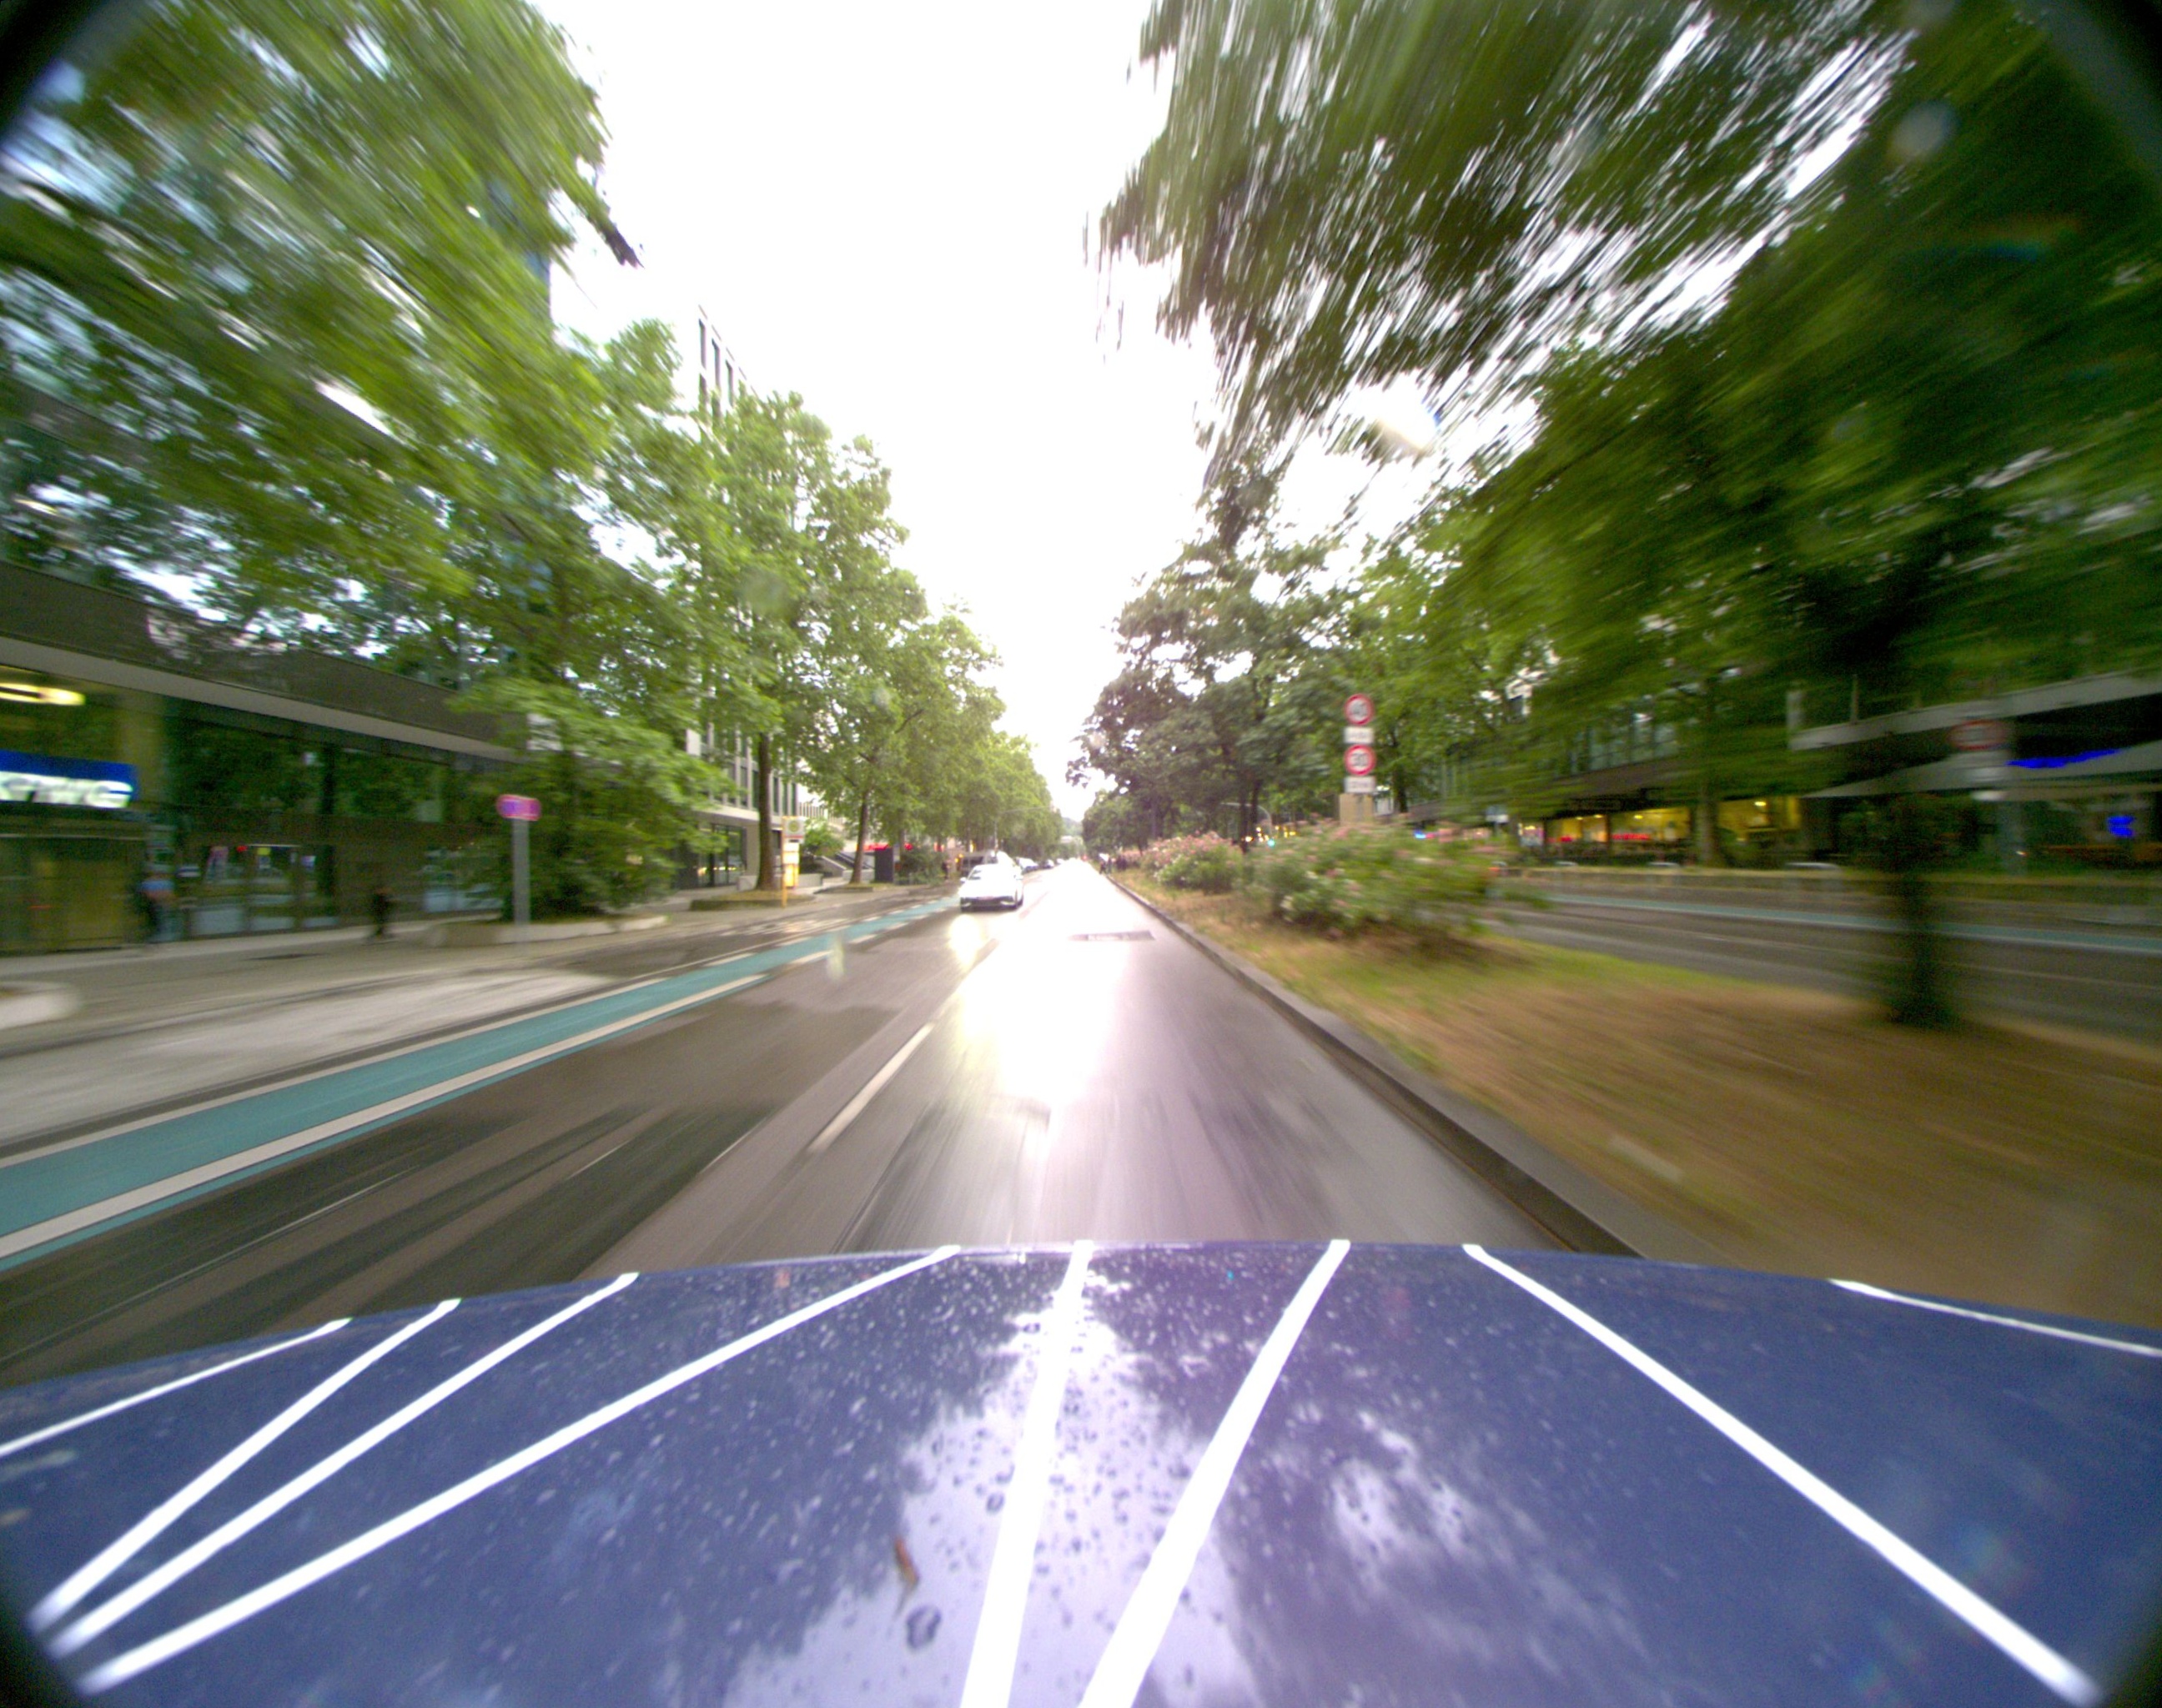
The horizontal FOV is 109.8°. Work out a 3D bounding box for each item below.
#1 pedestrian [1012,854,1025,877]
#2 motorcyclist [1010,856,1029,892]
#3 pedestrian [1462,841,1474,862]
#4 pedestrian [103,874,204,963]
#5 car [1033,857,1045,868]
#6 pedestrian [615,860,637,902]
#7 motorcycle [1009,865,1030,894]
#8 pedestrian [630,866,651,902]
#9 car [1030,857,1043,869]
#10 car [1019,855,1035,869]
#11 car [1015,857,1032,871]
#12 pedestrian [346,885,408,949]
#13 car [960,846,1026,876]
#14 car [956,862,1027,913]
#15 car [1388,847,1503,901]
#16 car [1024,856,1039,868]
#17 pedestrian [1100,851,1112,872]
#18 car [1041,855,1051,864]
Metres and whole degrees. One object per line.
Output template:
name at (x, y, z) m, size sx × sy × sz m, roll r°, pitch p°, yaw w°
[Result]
pedestrian at (-5.102, 0.964, 61.953) m, size 0.891 × 1.839 × 0.721 m, roll -2°, pitch 1°, yaw 6°
motorcyclist at (-2.821, 0.913, 34.888) m, size 0.744 × 1.575 × 1.059 m, roll -2°, pitch 1°, yaw 0°
pedestrian at (27.236, -0.186, 53.477) m, size 0.568 × 1.457 × 0.560 m, roll -2°, pitch 0°, yaw -4°
pedestrian at (-19.672, 1.340, 16.143) m, size 0.789 × 1.783 × 1.087 m, roll 1°, pitch 0°, yaw -3°
car at (-6.327, 1.230, 114.073) m, size 1.598 × 1.516 × 3.425 m, roll -2°, pitch 0°, yaw 0°
pedestrian at (-20.647, 1.219, 34.482) m, size 0.524 × 1.848 × 0.704 m, roll 1°, pitch 2°, yaw 0°
motorcycle at (-2.809, 1.166, 35.032) m, size 0.744 × 1.194 × 2.235 m, roll -2°, pitch 1°, yaw 0°
pedestrian at (-19.914, 1.346, 34.360) m, size 0.527 × 1.616 × 0.719 m, roll 1°, pitch 2°, yaw 0°
car at (-6.218, 1.215, 106.065) m, size 1.598 × 1.516 × 3.425 m, roll -2°, pitch 0°, yaw 0°
car at (-6.232, 0.942, 87.764) m, size 1.598 × 1.516 × 3.425 m, roll -2°, pitch 0°, yaw 0°
car at (-6.252, 1.068, 83.084) m, size 1.598 × 1.516 × 3.425 m, roll -2°, pitch 0°, yaw 0°
pedestrian at (-17.368, 1.524, 18.767) m, size 0.588 × 1.496 × 1.005 m, roll -1°, pitch 0°, yaw 1°
car at (-8.527, 0.717, 73.115) m, size 6.268 × 2.665 × 2.326 m, roll -2°, pitch 1°, yaw 36°
car at (-2.889, 1.042, 25.299) m, size 1.795 × 1.463 × 3.793 m, roll -2°, pitch 0°, yaw 1°
car at (11.036, 0.571, 23.326) m, size 1.642 × 1.456 × 4.034 m, roll -2°, pitch 0°, yaw 1°
car at (-6.302, 1.012, 96.828) m, size 1.598 × 1.516 × 3.425 m, roll -2°, pitch 0°, yaw 0°
pedestrian at (2.175, 0.646, 66.625) m, size 0.892 × 1.839 × 0.787 m, roll -2°, pitch 1°, yaw -7°
car at (-6.441, 1.034, 138.660) m, size 1.598 × 1.516 × 3.425 m, roll -2°, pitch 0°, yaw 0°
